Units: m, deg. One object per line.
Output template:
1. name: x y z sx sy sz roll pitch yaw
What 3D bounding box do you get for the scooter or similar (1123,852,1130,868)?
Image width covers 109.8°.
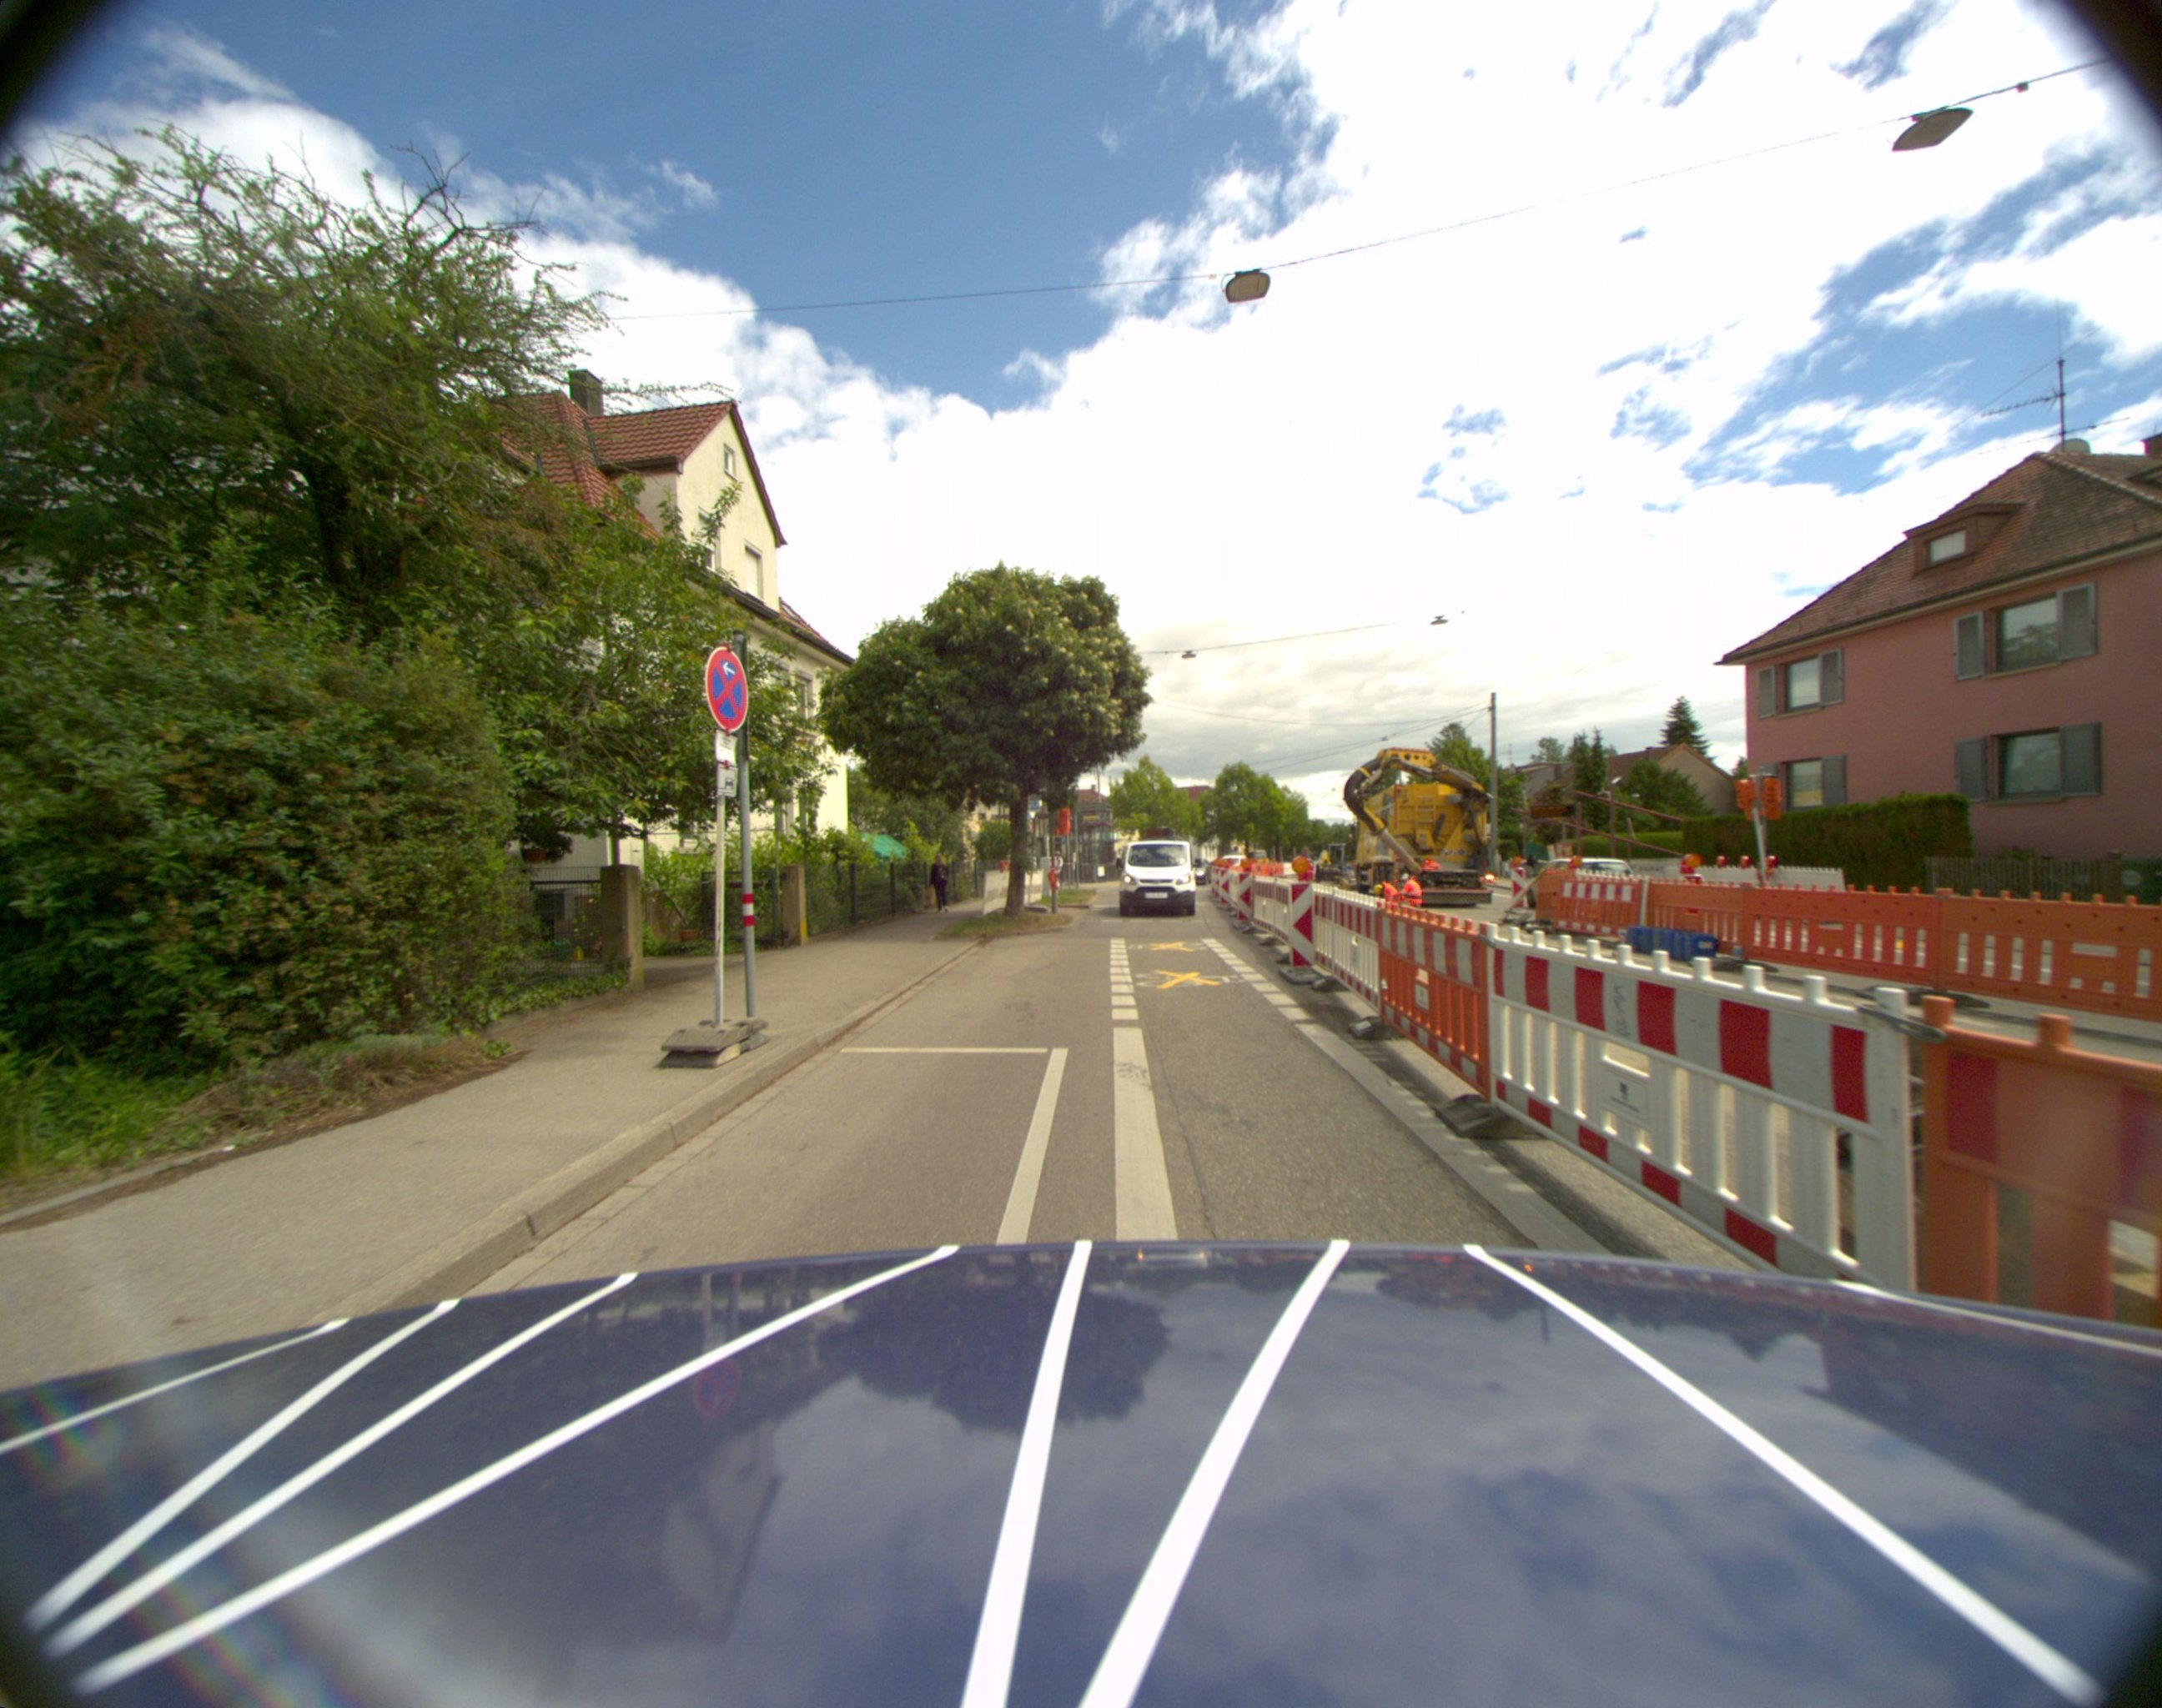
1. scooter or similar: 3.217 0.438 53.412 0.216 1.105 0.948 0 -3 19

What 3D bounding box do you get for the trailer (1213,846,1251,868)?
1. trailer: 16.558 0.285 82.828 2.595 2.232 5.684 -4 -1 26

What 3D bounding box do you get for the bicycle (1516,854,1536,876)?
1. bicycle: 23.123 0.553 39.487 0.539 1.076 2.135 0 0 20

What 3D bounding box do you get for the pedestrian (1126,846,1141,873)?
1. pedestrian: 3.210 0.323 46.350 0.599 1.573 0.402 -7 1 18

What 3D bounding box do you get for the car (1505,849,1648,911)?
1. car: 13.336 0.638 20.742 1.857 1.444 4.003 -2 0 11

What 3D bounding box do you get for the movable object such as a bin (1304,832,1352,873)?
1. movable object such as a bin: 16.855 -0.109 51.574 1.995 2.610 6.534 0 0 28

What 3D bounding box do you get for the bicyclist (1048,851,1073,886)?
1. bicyclist: -0.856 0.599 31.506 0.657 1.407 1.180 -2 0 18

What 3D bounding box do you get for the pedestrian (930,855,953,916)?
1. pedestrian: -3.622 0.807 19.751 0.522 1.531 0.636 -1 1 -7

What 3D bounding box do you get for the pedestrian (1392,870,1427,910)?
1. pedestrian: 8.541 0.933 19.751 0.641 0.985 0.795 0 1 37

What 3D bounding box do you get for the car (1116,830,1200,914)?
1. car: 2.102 0.434 21.640 1.998 2.002 5.514 -3 0 4

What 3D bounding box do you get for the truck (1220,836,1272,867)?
1. truck: 19.507 -0.242 90.067 2.346 3.178 6.622 -1 -3 -26

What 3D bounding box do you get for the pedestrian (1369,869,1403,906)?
1. pedestrian: 8.402 0.905 20.920 0.791 0.985 0.813 0 1 27

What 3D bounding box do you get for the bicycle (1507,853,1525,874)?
1. bicycle: 24.124 0.514 42.154 0.539 1.076 2.135 0 0 20

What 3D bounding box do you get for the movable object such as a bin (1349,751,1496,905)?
1. movable object such as a bin: 11.350 -0.734 26.467 2.595 4.197 11.132 -1 0 13

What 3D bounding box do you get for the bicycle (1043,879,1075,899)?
1. bicycle: -0.907 1.436 31.492 0.636 0.749 2.065 -2 -1 18
